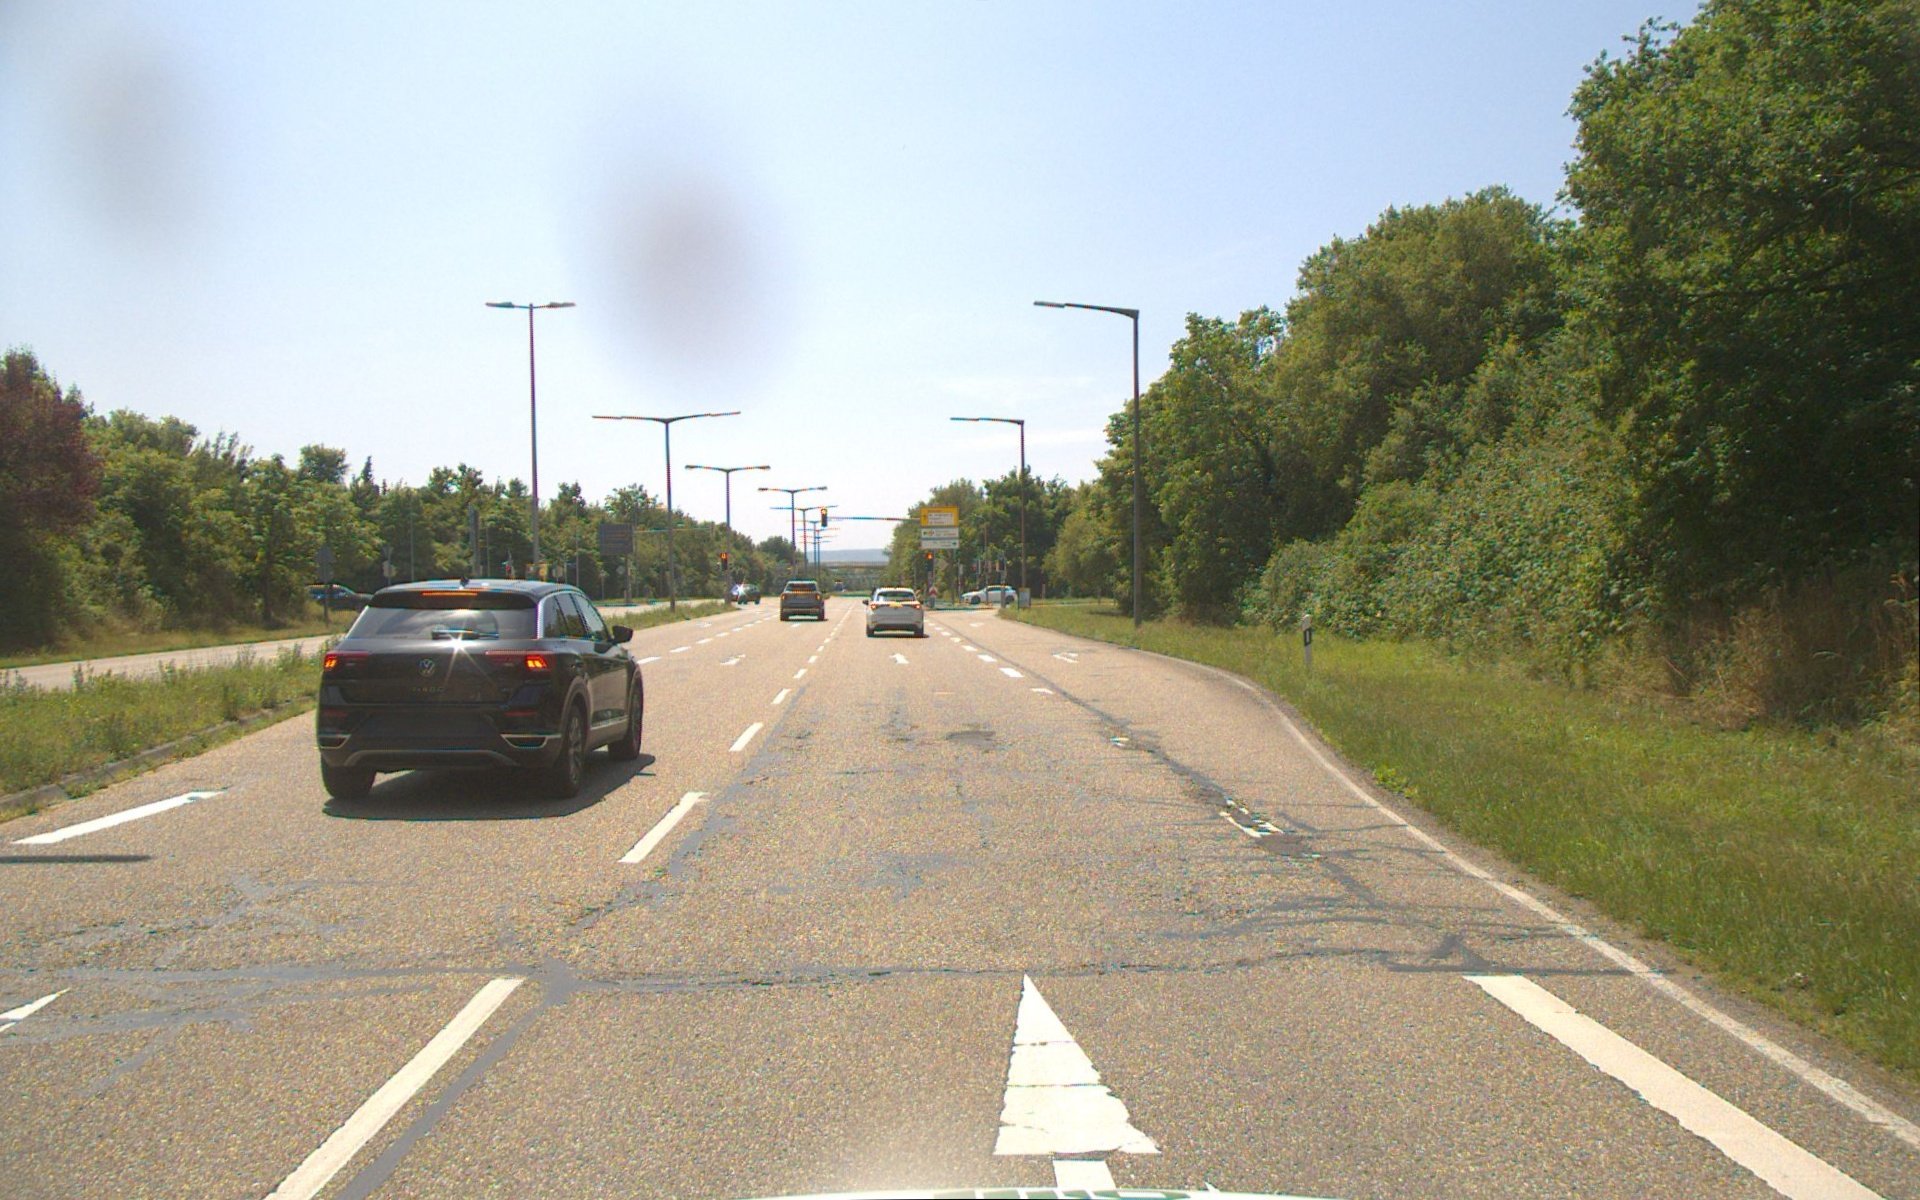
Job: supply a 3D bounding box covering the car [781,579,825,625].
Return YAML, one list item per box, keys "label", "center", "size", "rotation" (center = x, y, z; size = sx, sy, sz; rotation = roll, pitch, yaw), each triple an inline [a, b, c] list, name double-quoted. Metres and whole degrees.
- label: "car"
  center: [-6.888, 0.069, 72.807]
  size: [1.720, 1.962, 3.998]
  rotation: [-1, 0, -3]

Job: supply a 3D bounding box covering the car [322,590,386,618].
- label: "car"
  center: [-41.020, 0.266, 112.024]
  size: [3.922, 1.862, 1.992]
  rotation: [-1, 0, -16]

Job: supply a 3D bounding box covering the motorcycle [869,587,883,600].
- label: "motorcycle"
  center: [-8.699, -0.665, 170.917]
  size: [1.396, 1.303, 2.567]
  rotation: [-3, 0, -3]

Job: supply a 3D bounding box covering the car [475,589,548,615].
- label: "car"
  center: [-29.497, 0.120, 108.895]
  size: [4.438, 1.669, 1.974]
  rotation: [0, 0, -8]

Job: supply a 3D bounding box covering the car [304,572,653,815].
- label: "car"
  center: [-3.557, 0.604, 12.967]
  size: [1.720, 1.583, 3.998]
  rotation: [-1, 0, -3]

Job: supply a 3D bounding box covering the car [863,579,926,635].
- label: "car"
  center: [-1.970, 0.187, 50.504]
  size: [1.760, 1.610, 3.999]
  rotation: [-1, 0, -1]

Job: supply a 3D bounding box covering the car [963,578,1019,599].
- label: "car"
  center: [2.389, -0.875, 128.255]
  size: [4.028, 1.552, 1.933]
  rotation: [-1, 1, -11]
